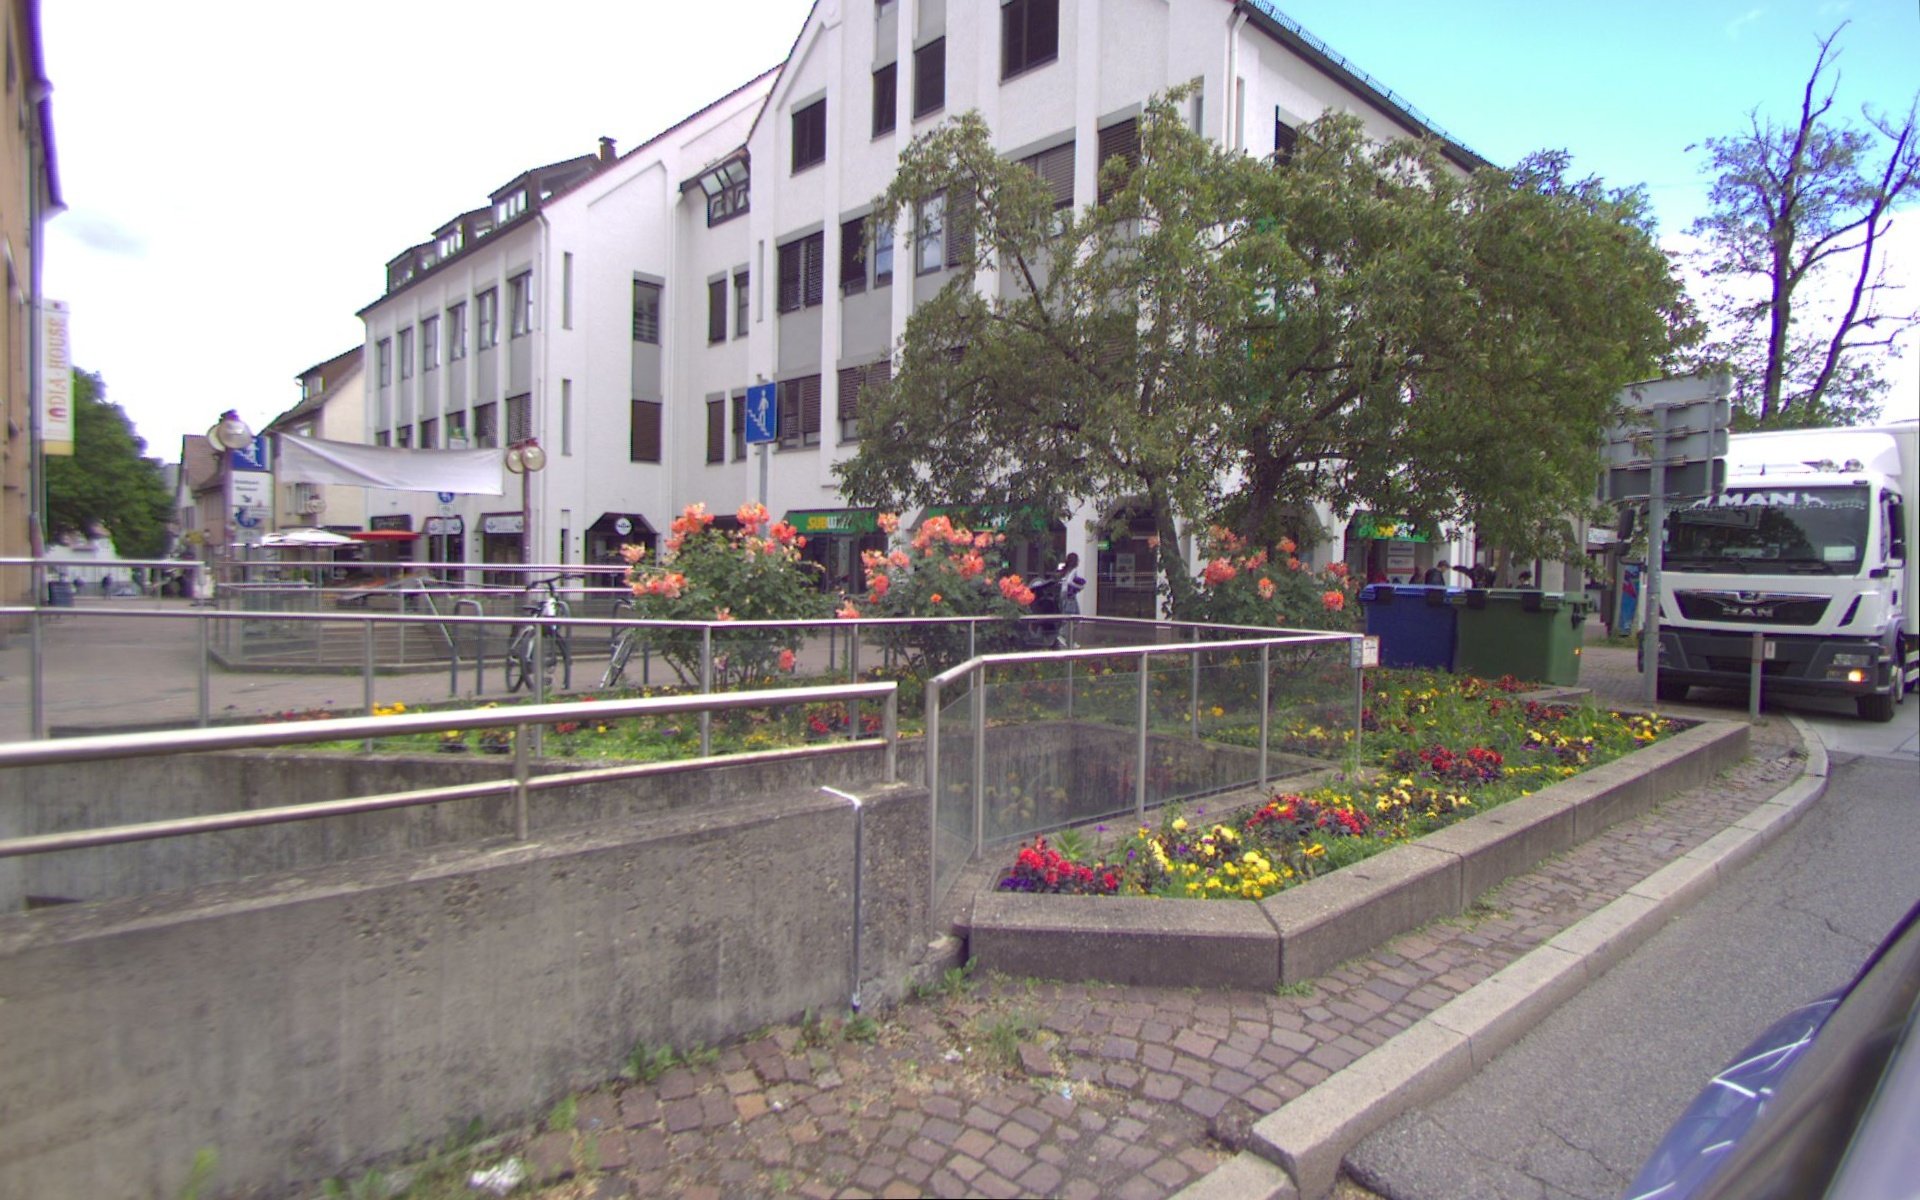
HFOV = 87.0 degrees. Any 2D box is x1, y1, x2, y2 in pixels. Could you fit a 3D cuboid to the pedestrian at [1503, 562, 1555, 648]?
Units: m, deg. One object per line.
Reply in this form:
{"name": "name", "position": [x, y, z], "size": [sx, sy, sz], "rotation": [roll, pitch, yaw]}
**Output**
{"name": "pedestrian", "position": [10.957, 0.083, 19.504], "size": [0.737, 1.622, 0.570], "rotation": [2, 1, 21]}

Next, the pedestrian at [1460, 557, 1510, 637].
{"name": "pedestrian", "position": [10.897, -0.077, 21.015], "size": [0.564, 1.622, 0.744], "rotation": [0, 2, -44]}

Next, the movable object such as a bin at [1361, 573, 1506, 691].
{"name": "movable object such as a bin", "position": [5.975, 0.361, 12.774], "size": [1.351, 1.356, 1.146], "rotation": [0, 2, -39]}

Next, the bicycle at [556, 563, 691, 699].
{"name": "bicycle", "position": [-3.503, 0.273, 10.470], "size": [0.658, 1.274, 1.676], "rotation": [0, 2, -44]}

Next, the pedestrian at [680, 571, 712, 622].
{"name": "pedestrian", "position": [-6.381, -0.093, 24.464], "size": [0.504, 1.215, 0.619], "rotation": [0, 2, -43]}

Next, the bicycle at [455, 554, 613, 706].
{"name": "bicycle", "position": [-4.220, 0.239, 9.954], "size": [0.829, 1.343, 1.818], "rotation": [0, 2, -44]}

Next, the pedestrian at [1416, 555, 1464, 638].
{"name": "pedestrian", "position": [9.615, -0.071, 20.271], "size": [0.732, 1.622, 0.573], "rotation": [0, 2, -40]}

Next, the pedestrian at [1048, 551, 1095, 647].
{"name": "pedestrian", "position": [1.920, -0.026, 17.471], "size": [0.503, 1.622, 0.621], "rotation": [0, 1, -31]}

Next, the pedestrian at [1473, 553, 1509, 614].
{"name": "pedestrian", "position": [14.480, -0.455, 27.617], "size": [0.737, 1.622, 0.570], "rotation": [2, 1, 21]}

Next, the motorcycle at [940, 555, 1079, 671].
{"name": "motorcycle", "position": [0.694, 0.151, 13.669], "size": [1.913, 1.456, 0.721], "rotation": [0, 2, -43]}

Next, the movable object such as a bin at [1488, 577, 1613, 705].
{"name": "movable object such as a bin", "position": [6.739, 0.432, 11.550], "size": [1.066, 1.356, 0.884], "rotation": [0, 2, -39]}

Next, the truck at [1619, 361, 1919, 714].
{"name": "truck", "position": [12.572, -0.706, 14.536], "size": [9.597, 3.605, 2.693], "rotation": [0, 2, -42]}
